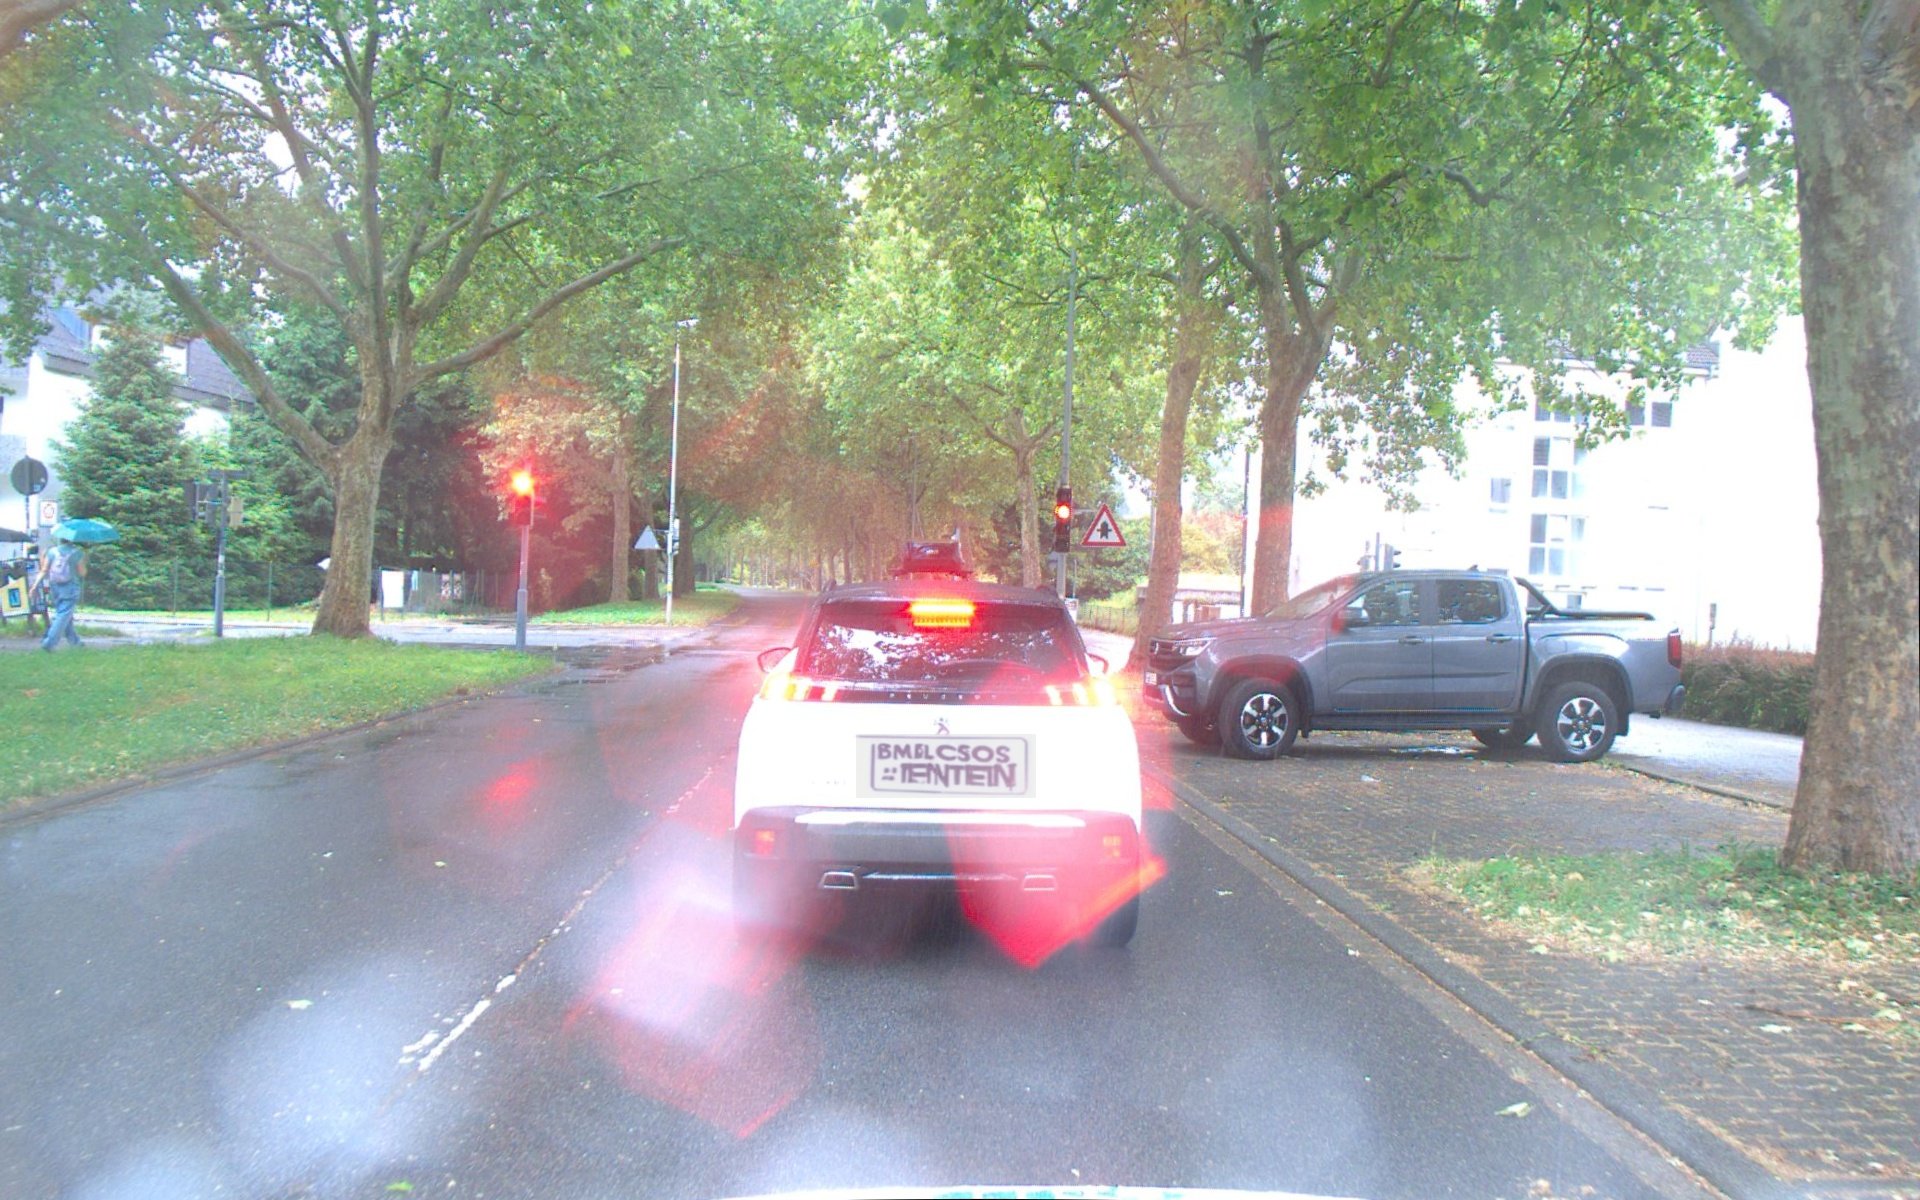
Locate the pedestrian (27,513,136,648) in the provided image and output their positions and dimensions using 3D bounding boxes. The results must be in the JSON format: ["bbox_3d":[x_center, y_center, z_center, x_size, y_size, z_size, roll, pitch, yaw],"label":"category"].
[{"bbox_3d":[-12.039,-0.265,22.684,1.012,1.796,0.838,1,0,-1],"label":"pedestrian"}]

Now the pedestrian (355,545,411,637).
[{"bbox_3d":[-11.413,-0.180,32.742,0.842,1.775,0.639,2,0,-4],"label":"pedestrian"}]

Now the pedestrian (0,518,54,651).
[{"bbox_3d":[-13.221,-0.225,22.740,1.012,1.796,0.879,1,0,-1],"label":"pedestrian"}]

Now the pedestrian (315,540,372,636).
[{"bbox_3d":[-11.744,-0.226,31.513,0.804,1.775,0.639,2,0,-4],"label":"pedestrian"}]

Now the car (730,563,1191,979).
[{"bbox_3d":[-0.036,0.640,8.404,1.744,1.563,4.056,1,1,-1],"label":"car"}]

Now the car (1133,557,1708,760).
[{"bbox_3d":[4.521,0.571,16.577,5.238,1.838,1.842,1,0,-8],"label":"car"}]

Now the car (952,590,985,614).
[{"bbox_3d":[0.532,0.110,112.417,1.868,1.536,3.928,2,0,-5],"label":"car"}]
